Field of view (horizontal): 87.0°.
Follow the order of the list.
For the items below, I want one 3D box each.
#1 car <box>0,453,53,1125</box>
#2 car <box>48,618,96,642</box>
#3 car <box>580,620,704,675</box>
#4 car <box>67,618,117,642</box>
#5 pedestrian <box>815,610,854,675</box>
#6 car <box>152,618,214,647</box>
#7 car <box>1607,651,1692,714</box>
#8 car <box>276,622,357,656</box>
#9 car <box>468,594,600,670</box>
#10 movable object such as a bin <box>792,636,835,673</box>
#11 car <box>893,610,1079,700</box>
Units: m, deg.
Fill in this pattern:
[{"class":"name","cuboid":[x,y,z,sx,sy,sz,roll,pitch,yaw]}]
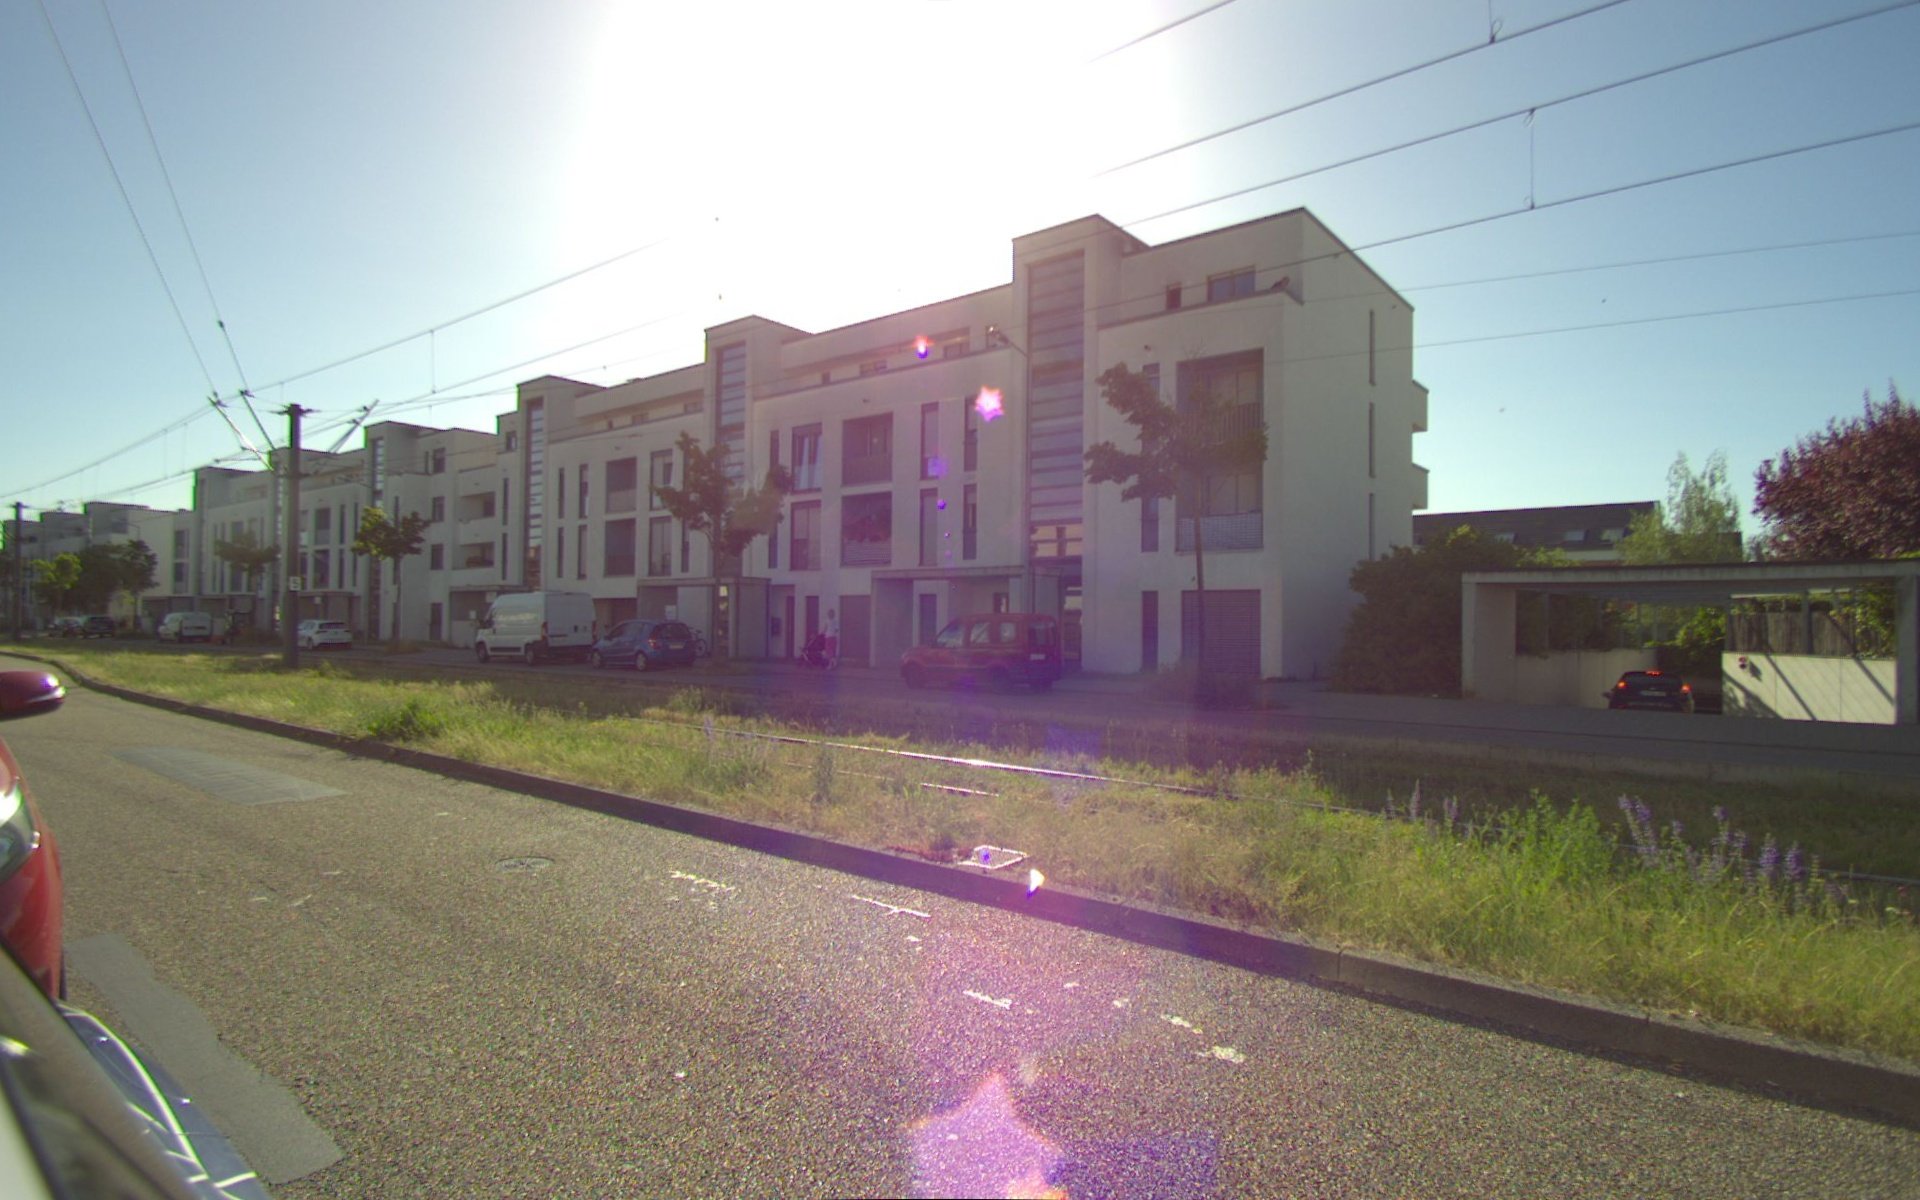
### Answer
[{"class":"car","cuboid":[-4.897,0.553,3.683,4.505,1.868,1.850,-1,0,41]},{"class":"car","cuboid":[-67.519,2.253,76.944,4.277,1.693,1.900,-1,0,37]},{"class":"car","cuboid":[-10.000,1.446,31.750,3.833,1.556,1.973,-1,0,40]},{"class":"car","cuboid":[-62.974,2.162,73.419,4.277,1.693,1.900,-1,0,37]},{"class":"pedestrian","cuboid":[-3.653,1.214,29.450,0.785,1.836,0.766,-1,0,41]},{"class":"car","cuboid":[-47.353,1.959,61.637,4.277,1.693,1.900,-1,0,37]},{"class":"car","cuboid":[17.152,2.081,25.107,1.574,1.337,3.950,-1,-7,37]},{"class":"car","cuboid":[-31.135,1.837,48.910,4.277,1.517,1.900,-1,0,37]},{"class":"car","cuboid":[-15.195,1.073,35.955,5.193,2.491,2.197,-1,0,40]},{"class":"movable object such as a bin","cuboid":[-4.359,1.607,30.068,1.083,1.062,0.719,-1,0,42]},{"class":"car","cuboid":[0.537,1.167,23.028,3.895,1.842,1.972,-1,0,43]}]
